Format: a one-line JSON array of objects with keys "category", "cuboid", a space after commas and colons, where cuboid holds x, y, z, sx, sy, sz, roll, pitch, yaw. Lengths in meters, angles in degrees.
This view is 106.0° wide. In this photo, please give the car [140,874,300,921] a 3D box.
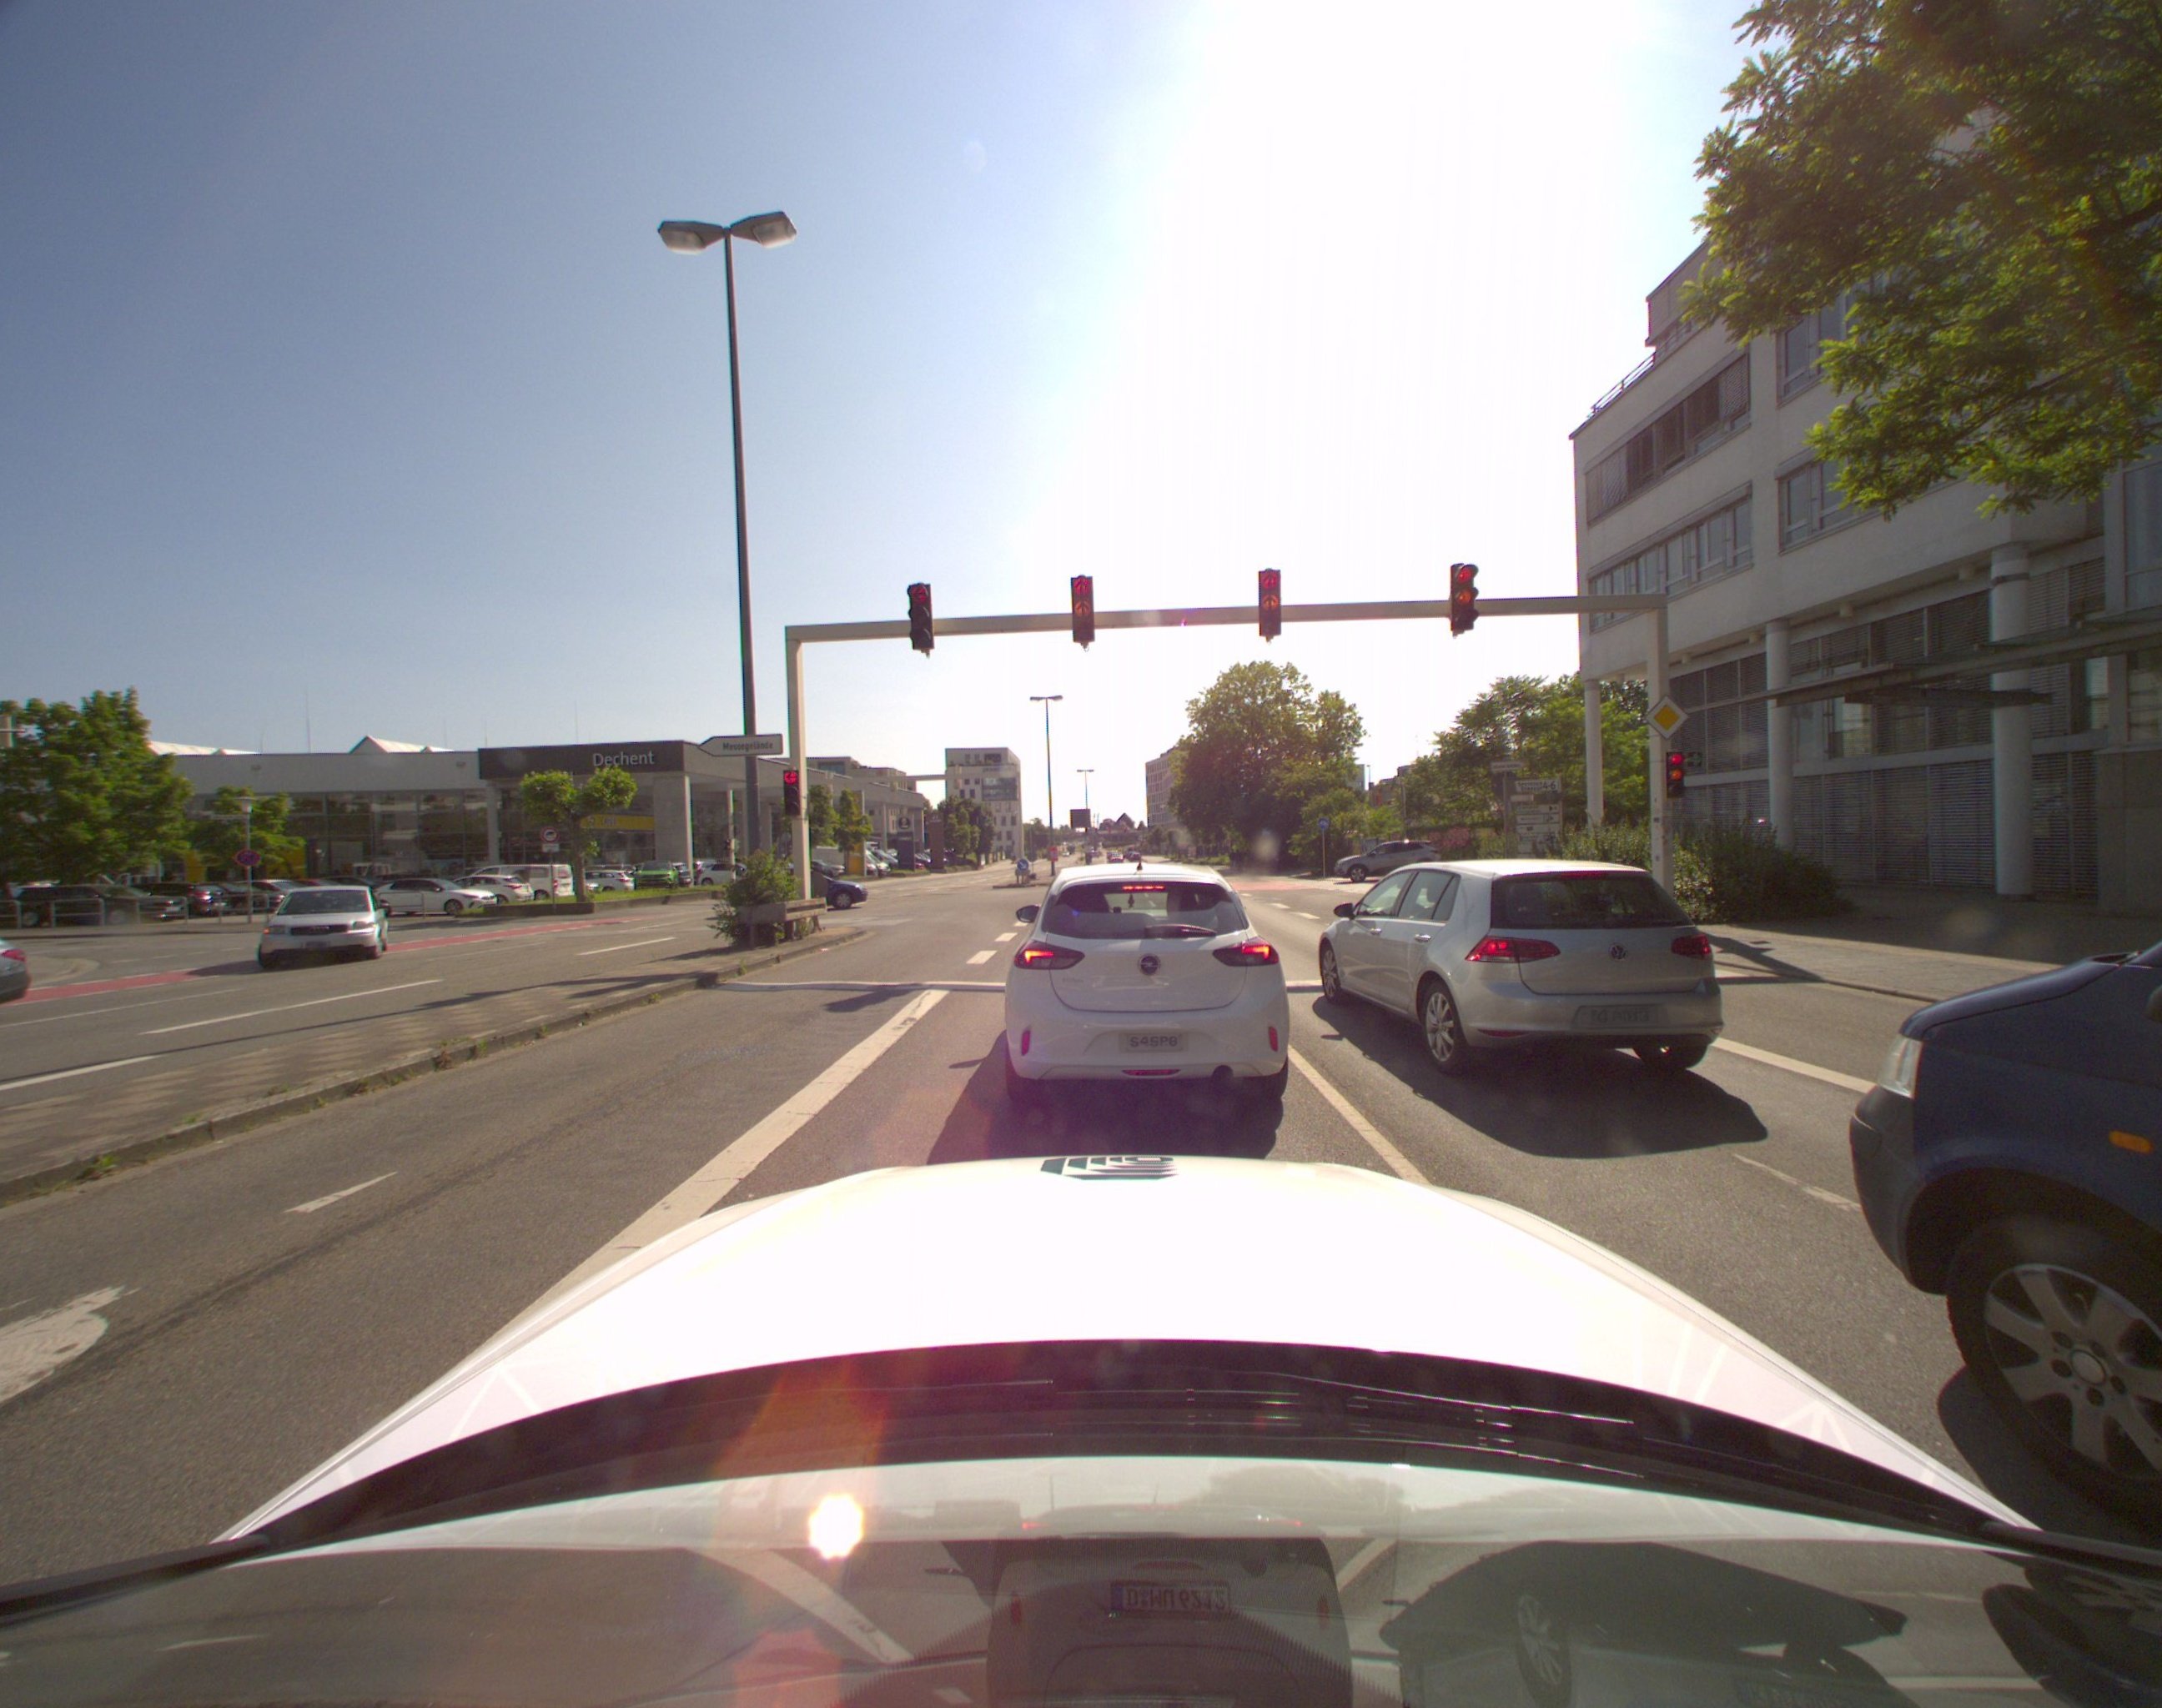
[{"category": "car", "cuboid": [-36.104, 1.798, 34.258, 4.348, 1.696, 1.997, -2, 0, -4]}]

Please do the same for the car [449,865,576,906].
[{"category": "car", "cuboid": [-26.564, 1.442, 38.193, 4.353, 1.696, 1.995, -2, 0, -7]}]

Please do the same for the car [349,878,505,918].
[{"category": "car", "cuboid": [-25.470, 1.697, 31.860, 4.348, 1.300, 1.997, -2, 0, -4]}]

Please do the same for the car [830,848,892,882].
[{"category": "car", "cuboid": [-18.460, 0.938, 68.345, 4.469, 2.684, 2.134, -2, 0, 10]}]

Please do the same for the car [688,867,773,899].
[{"category": "car", "cuboid": [-20.076, 1.653, 46.808, 3.981, 1.599, 1.996, -2, 0, -6]}]

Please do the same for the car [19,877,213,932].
[{"category": "car", "cuboid": [-34.800, 1.806, 29.496, 4.348, 1.696, 1.997, -2, 0, -4]}]

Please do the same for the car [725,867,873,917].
[{"category": "car", "cuboid": [-9.219, 1.189, 26.647, 4.378, 1.447, 1.983, -1, 0, -26]}]

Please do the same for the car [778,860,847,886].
[{"category": "car", "cuboid": [-19.789, 1.368, 60.148, 4.344, 1.696, 1.999, -2, 0, -1]}]

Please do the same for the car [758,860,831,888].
[{"category": "car", "cuboid": [-20.019, 1.383, 57.026, 4.344, 1.696, 1.999, -2, 0, -1]}]

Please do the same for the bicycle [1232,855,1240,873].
[{"category": "bicycle", "cuboid": [10.880, 0.692, 57.195, 0.371, 1.216, 1.154, 0, 0, 2]}]

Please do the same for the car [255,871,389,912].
[{"category": "car", "cuboid": [-36.620, 1.778, 39.408, 4.352, 1.696, 1.995, -2, 0, -7]}]

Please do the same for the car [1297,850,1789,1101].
[{"category": "car", "cuboid": [3.301, 0.741, 6.874, 1.802, 1.429, 3.998, -2, -1, -1]}]

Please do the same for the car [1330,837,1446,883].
[{"category": "car", "cuboid": [13.032, 0.259, 34.860, 4.386, 1.551, 2.008, -5, -1, 15]}]

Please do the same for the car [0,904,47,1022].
[{"category": "car", "cuboid": [-14.260, 1.418, 8.137, 1.950, 1.427, 4.583, -3, 0, -1]}]

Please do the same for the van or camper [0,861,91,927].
[{"category": "van or camper", "cuboid": [-41.948, 1.574, 31.334, 4.711, 2.400, 1.995, -2, 0, -8]}]

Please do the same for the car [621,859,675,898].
[{"category": "car", "cuboid": [-21.254, 1.218, 39.951, 1.915, 1.733, 3.258, -2, -1, -35]}]

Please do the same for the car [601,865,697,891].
[{"category": "car", "cuboid": [-24.705, 1.375, 46.674, 4.352, 1.268, 1.995, -3, -2, -7]}]

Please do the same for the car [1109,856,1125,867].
[{"category": "car", "cuboid": [4.651, 0.990, 105.958, 1.986, 1.331, 4.001, 0, -1, 1]}]

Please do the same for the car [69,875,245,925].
[{"category": "car", "cuboid": [-36.164, 1.768, 31.991, 4.348, 1.696, 1.997, -2, 0, -4]}]

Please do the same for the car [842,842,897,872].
[{"category": "car", "cuboid": [-19.099, 0.270, 73.682, 4.334, 2.601, 2.004, -2, 0, 6]}]

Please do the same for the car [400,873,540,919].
[{"category": "car", "cuboid": [-26.188, 1.776, 35.056, 4.348, 1.696, 1.997, -2, 0, -4]}]

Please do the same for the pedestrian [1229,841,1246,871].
[{"category": "pedestrian", "cuboid": [11.779, 0.129, 61.391, 1.023, 2.238, 1.039, -2, 0, 1]}]

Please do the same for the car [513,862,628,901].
[{"category": "car", "cuboid": [-25.314, 1.335, 40.532, 4.353, 1.696, 1.995, -2, 0, -7]}]

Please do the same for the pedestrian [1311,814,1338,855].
[{"category": "pedestrian", "cuboid": [12.384, -0.963, 41.416, 1.023, 2.013, 1.039, -2, 0, 1]}]

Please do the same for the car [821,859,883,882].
[{"category": "car", "cuboid": [-18.507, 1.338, 65.896, 4.334, 1.696, 2.004, -2, 0, 6]}]

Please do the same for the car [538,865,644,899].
[{"category": "car", "cuboid": [-26.159, 1.496, 43.579, 4.352, 1.591, 1.996, -2, 0, -7]}]

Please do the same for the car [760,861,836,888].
[{"category": "car", "cuboid": [-18.984, 1.353, 54.703, 4.343, 1.696, 1.999, -2, 0, -1]}]

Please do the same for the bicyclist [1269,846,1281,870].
[{"category": "bicyclist", "cuboid": [13.559, 0.282, 56.950, 0.650, 1.637, 0.660, 0, -1, 1]}]

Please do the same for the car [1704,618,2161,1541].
[{"category": "car", "cuboid": [3.220, 0.443, 0.495, 1.986, 1.948, 4.892, -2, -1, 2]}]

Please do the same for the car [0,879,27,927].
[{"category": "car", "cuboid": [-40.603, 1.812, 28.326, 4.371, 1.696, 1.987, -2, 0, -20]}]

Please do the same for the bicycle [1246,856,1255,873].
[{"category": "bicycle", "cuboid": [11.710, 0.707, 56.211, 0.372, 1.147, 1.034, 0, -1, 0]}]

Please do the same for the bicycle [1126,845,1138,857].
[{"category": "bicycle", "cuboid": [9.679, -0.505, 155.247, 1.986, 2.157, 4.001, -2, 0, 1]}]

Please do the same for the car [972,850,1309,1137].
[{"category": "car", "cuboid": [0.378, 0.755, 6.403, 1.773, 1.494, 4.001, -2, 0, 2]}]

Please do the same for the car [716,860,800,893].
[{"category": "car", "cuboid": [-19.603, 1.343, 49.577, 4.284, 1.765, 1.999, -2, 0, -1]}]

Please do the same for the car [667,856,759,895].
[{"category": "car", "cuboid": [-19.260, 1.093, 42.772, 3.859, 1.837, 1.999, -2, 0, -1]}]

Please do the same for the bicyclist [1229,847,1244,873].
[{"category": "bicyclist", "cuboid": [10.895, 0.428, 57.182, 0.876, 1.772, 0.864, -2, 0, 1]}]

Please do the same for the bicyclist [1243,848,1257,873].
[{"category": "bicyclist", "cuboid": [11.692, 0.453, 56.218, 0.687, 1.643, 0.775, -2, 0, -7]}]

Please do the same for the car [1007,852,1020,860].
[{"category": "car", "cuboid": [-11.851, 0.388, 142.639, 1.799, 1.386, 4.001, 0, -1, 2]}]

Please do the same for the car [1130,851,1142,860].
[{"category": "car", "cuboid": [9.107, 0.239, 135.258, 1.799, 1.386, 4.001, 0, -1, 2]}]

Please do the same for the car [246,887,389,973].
[{"category": "car", "cuboid": [-15.702, 1.467, 16.941, 1.786, 1.438, 3.871, -2, 0, -38]}]

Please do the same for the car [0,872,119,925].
[{"category": "car", "cuboid": [-43.163, 1.824, 33.692, 3.984, 2.013, 1.995, -2, 0, -8]}]

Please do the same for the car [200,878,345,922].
[{"category": "car", "cuboid": [-36.637, 2.060, 37.009, 4.348, 1.696, 1.997, -2, 0, -4]}]
